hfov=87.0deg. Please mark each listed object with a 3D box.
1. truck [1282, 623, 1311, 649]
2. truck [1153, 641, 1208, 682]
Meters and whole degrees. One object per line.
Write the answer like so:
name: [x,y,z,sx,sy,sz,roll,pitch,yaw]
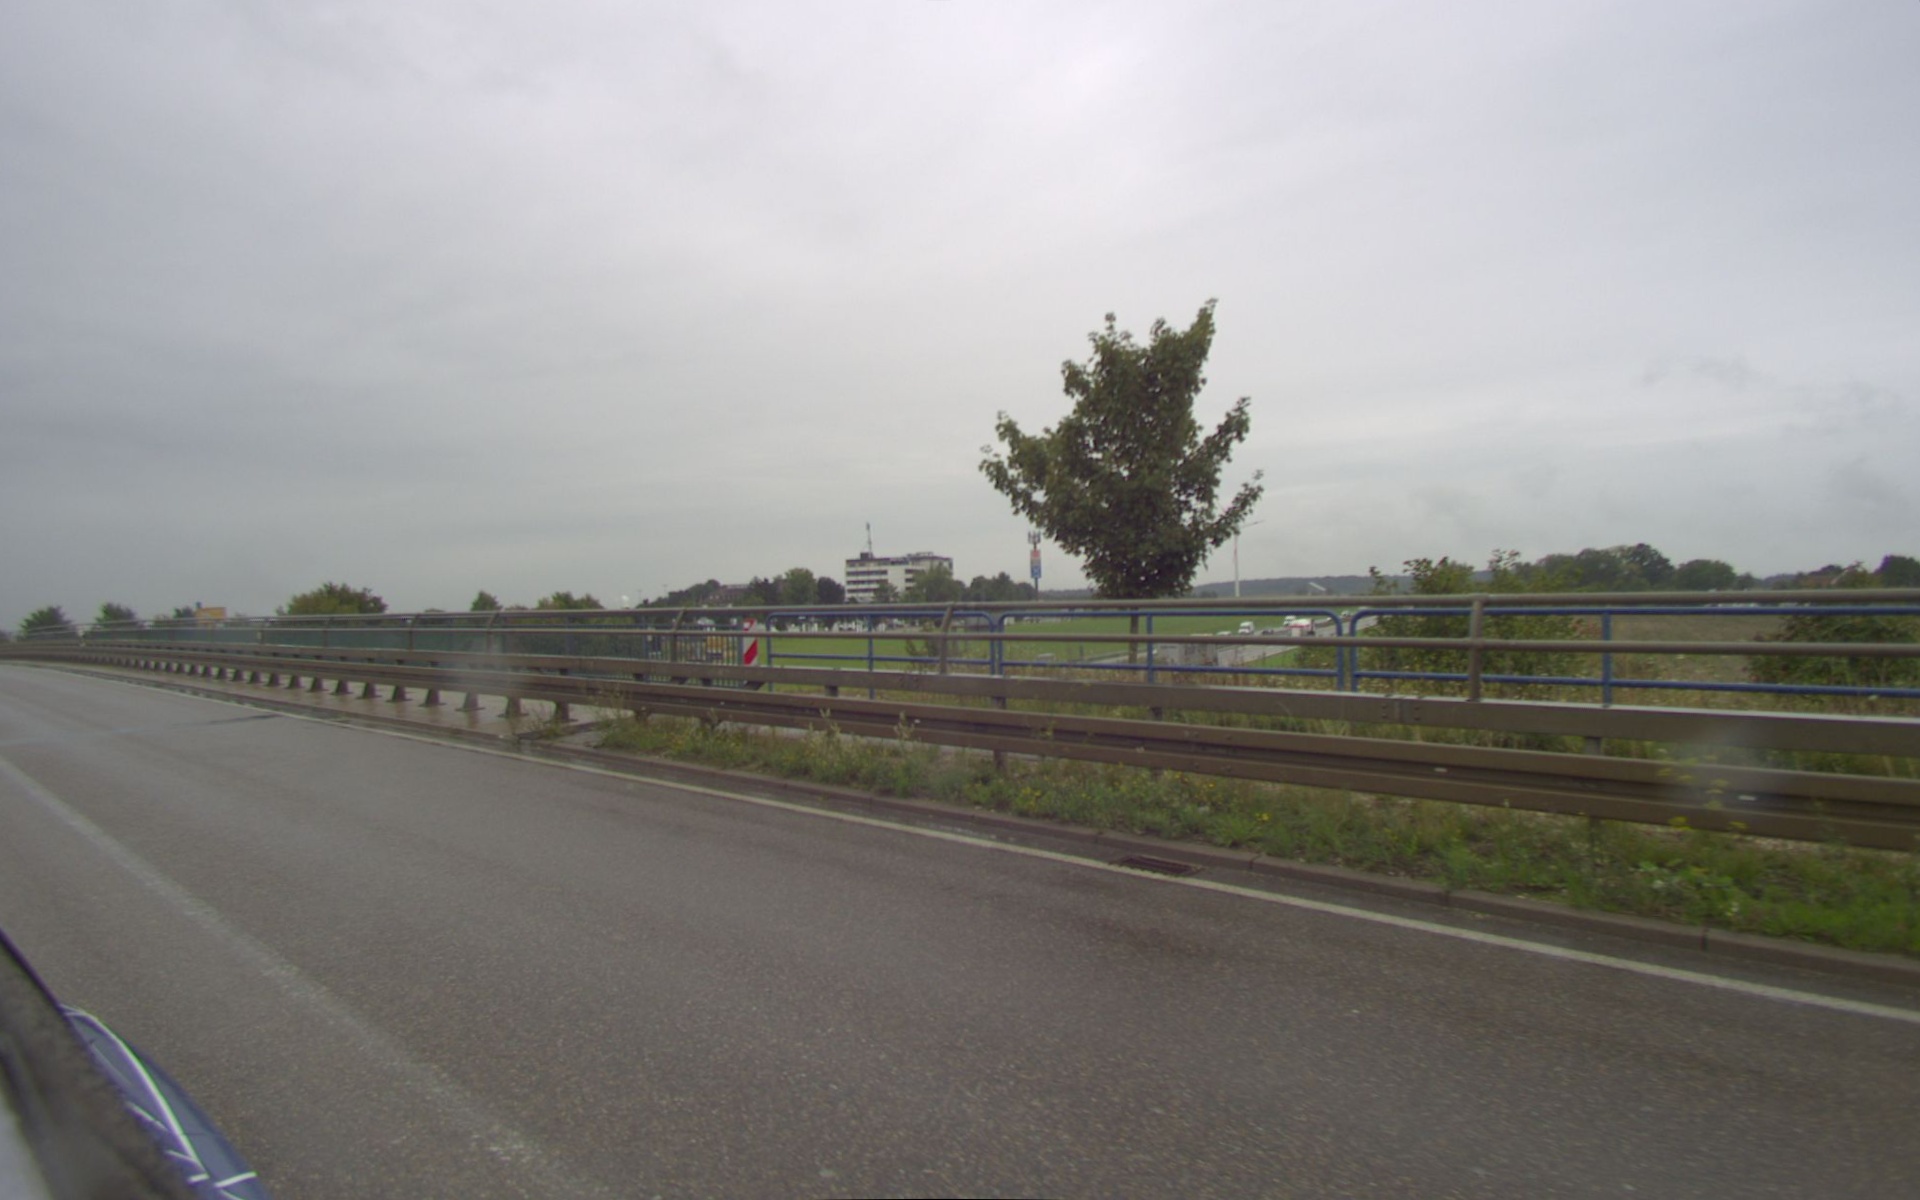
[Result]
truck: [58.801,6.224,176.775,3.335,3.975,11.425,-1,0,26]
truck: [25.092,6.849,114.537,3.336,3.975,11.423,-1,0,27]
